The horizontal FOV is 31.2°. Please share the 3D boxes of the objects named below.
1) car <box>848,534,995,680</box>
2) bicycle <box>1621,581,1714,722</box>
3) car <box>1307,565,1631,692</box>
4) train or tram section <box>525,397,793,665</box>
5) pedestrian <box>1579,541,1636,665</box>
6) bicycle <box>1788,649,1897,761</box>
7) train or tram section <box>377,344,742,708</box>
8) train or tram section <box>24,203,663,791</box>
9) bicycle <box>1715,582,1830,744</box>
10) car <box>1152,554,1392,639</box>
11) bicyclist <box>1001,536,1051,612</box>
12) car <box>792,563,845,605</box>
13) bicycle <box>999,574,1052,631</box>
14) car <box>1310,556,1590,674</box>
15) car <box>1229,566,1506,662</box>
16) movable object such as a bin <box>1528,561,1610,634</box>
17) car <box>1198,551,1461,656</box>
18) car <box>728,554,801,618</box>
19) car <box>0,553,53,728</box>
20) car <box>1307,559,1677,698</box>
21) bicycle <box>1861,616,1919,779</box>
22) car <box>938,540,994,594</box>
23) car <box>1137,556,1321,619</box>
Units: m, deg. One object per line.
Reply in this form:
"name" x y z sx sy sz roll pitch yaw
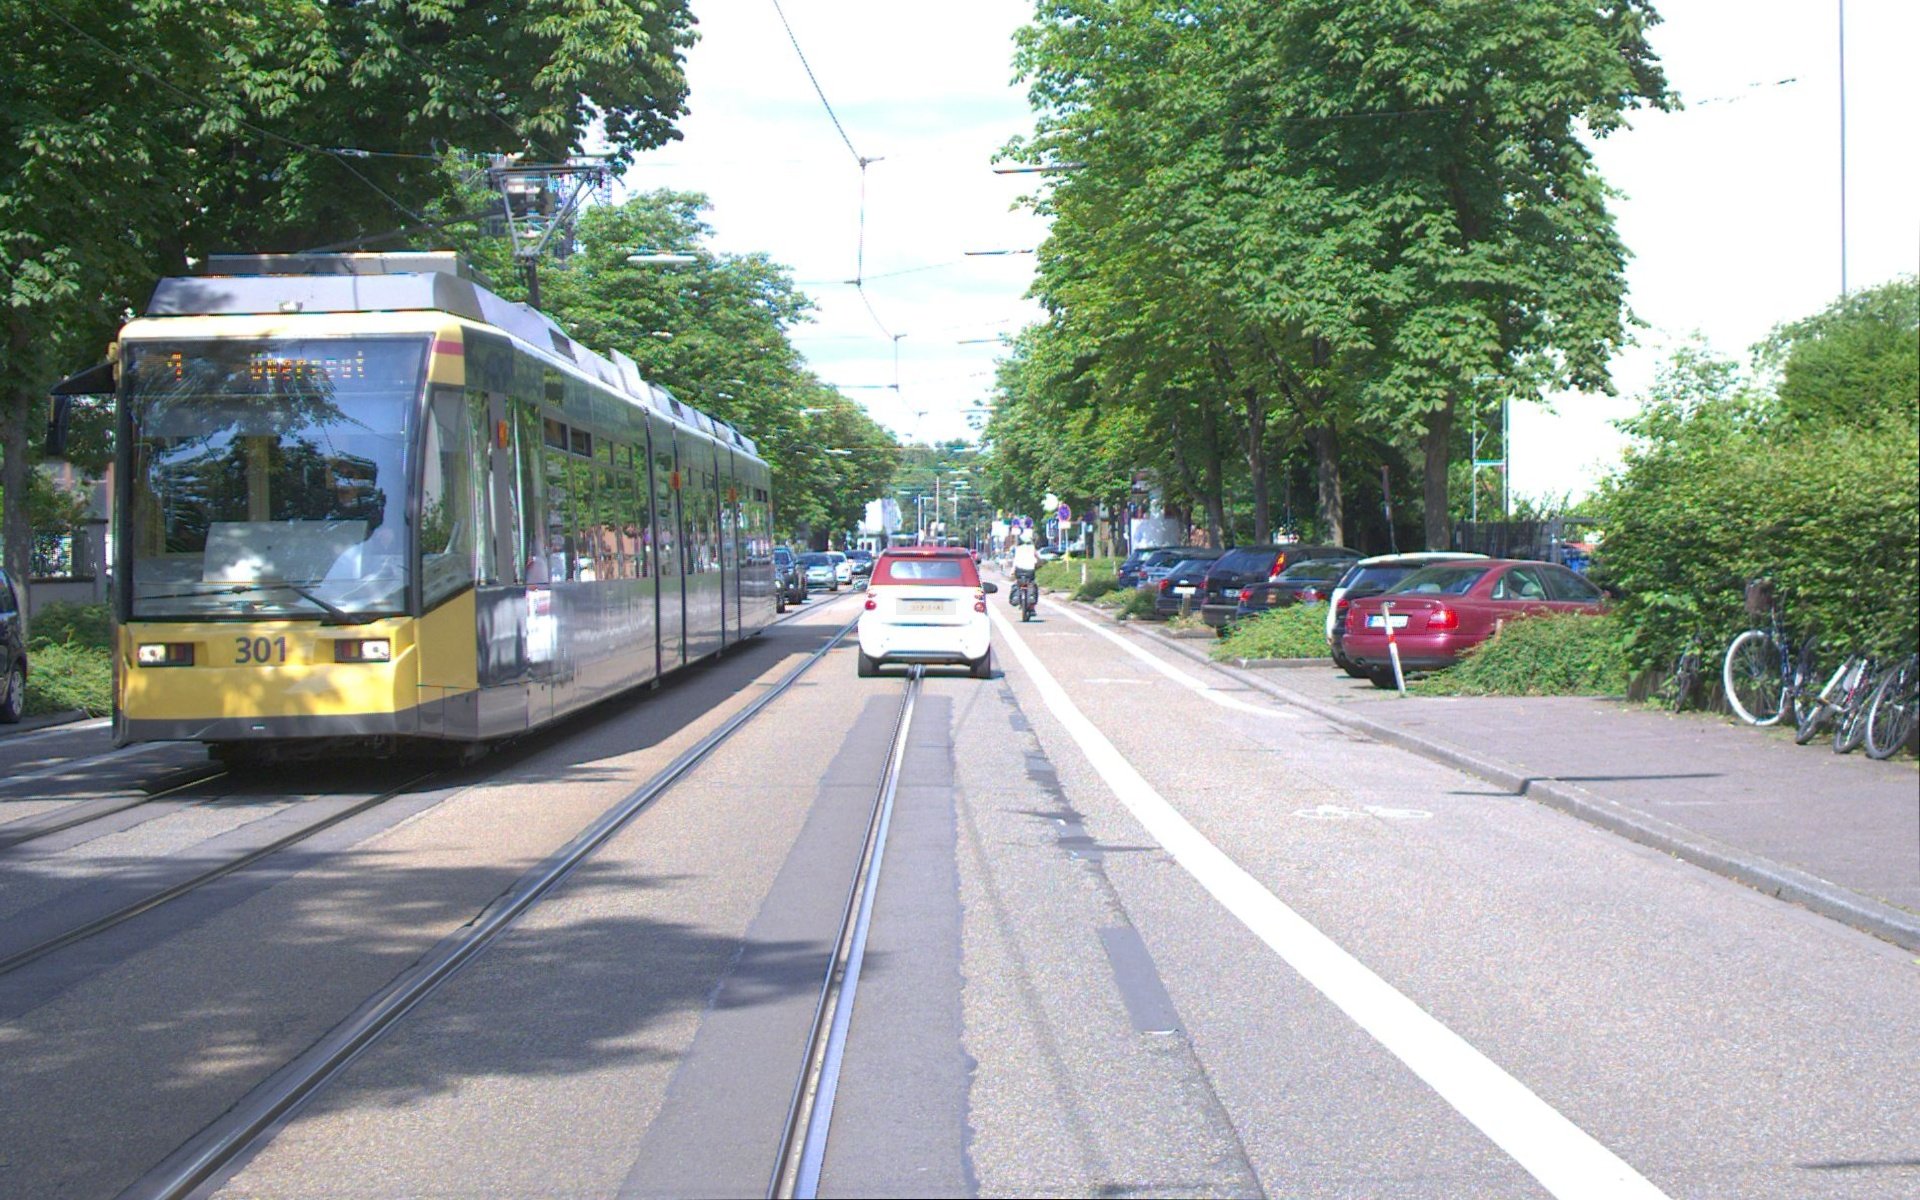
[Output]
"car" -0.439 0.045 41.696 1.665 1.619 3.621 2 1 0
"bicycle" 5.822 0.402 28.346 0.279 1.105 2.011 -3 0 0
"car" 6.142 0.318 41.278 3.989 1.443 1.698 0 1 -43
"train or tram section" -4.208 -0.939 51.175 2.652 3.344 14.109 -2 0 0
"pedestrian" 9.817 0.037 52.138 0.761 1.867 1.002 0 1 6
"bicycle" 5.870 0.686 22.919 0.279 0.675 1.559 -3 0 0
"train or tram section" -4.180 -0.748 38.517 2.652 3.377 11.473 -2 0 0
"train or tram section" -4.214 -0.659 26.682 2.652 3.425 12.315 -2 0 0
"bicycle" 5.852 0.428 24.828 0.279 1.105 2.011 -3 0 0
"car" 5.868 -0.050 64.265 2.030 1.437 4.524 2 0 45
"bicyclist" 1.357 -0.523 70.354 0.890 1.523 1.085 2 0 6
"car" -5.140 -0.582 125.408 1.773 1.411 3.852 -3 0 -1
"bicycle" 1.344 0.048 70.214 0.875 1.122 2.135 2 0 6
"car" 6.403 0.170 44.666 1.535 1.456 3.989 1 1 44
"car" 6.121 0.213 51.384 4.164 1.344 1.904 1 1 -45
"movable object such as a bin" 11.356 -0.048 64.107 1.275 1.314 1.326 1 0 0
"car" 5.859 0.062 54.320 3.989 1.569 1.904 1 1 -42
"car" -5.326 -0.394 94.291 1.825 1.721 4.391 1 0 -1
"car" -9.835 0.358 31.741 1.806 1.635 4.332 2 0 -1
"car" 5.934 0.281 38.104 4.148 1.418 1.866 -1 1 -42
"bicycle" 5.826 0.594 20.763 0.273 0.904 1.668 -3 2 0
"car" 0.174 -1.021 104.805 1.665 1.619 3.621 0 1 0
"car" 6.334 -0.298 80.818 4.230 1.415 1.723 0 2 -38
